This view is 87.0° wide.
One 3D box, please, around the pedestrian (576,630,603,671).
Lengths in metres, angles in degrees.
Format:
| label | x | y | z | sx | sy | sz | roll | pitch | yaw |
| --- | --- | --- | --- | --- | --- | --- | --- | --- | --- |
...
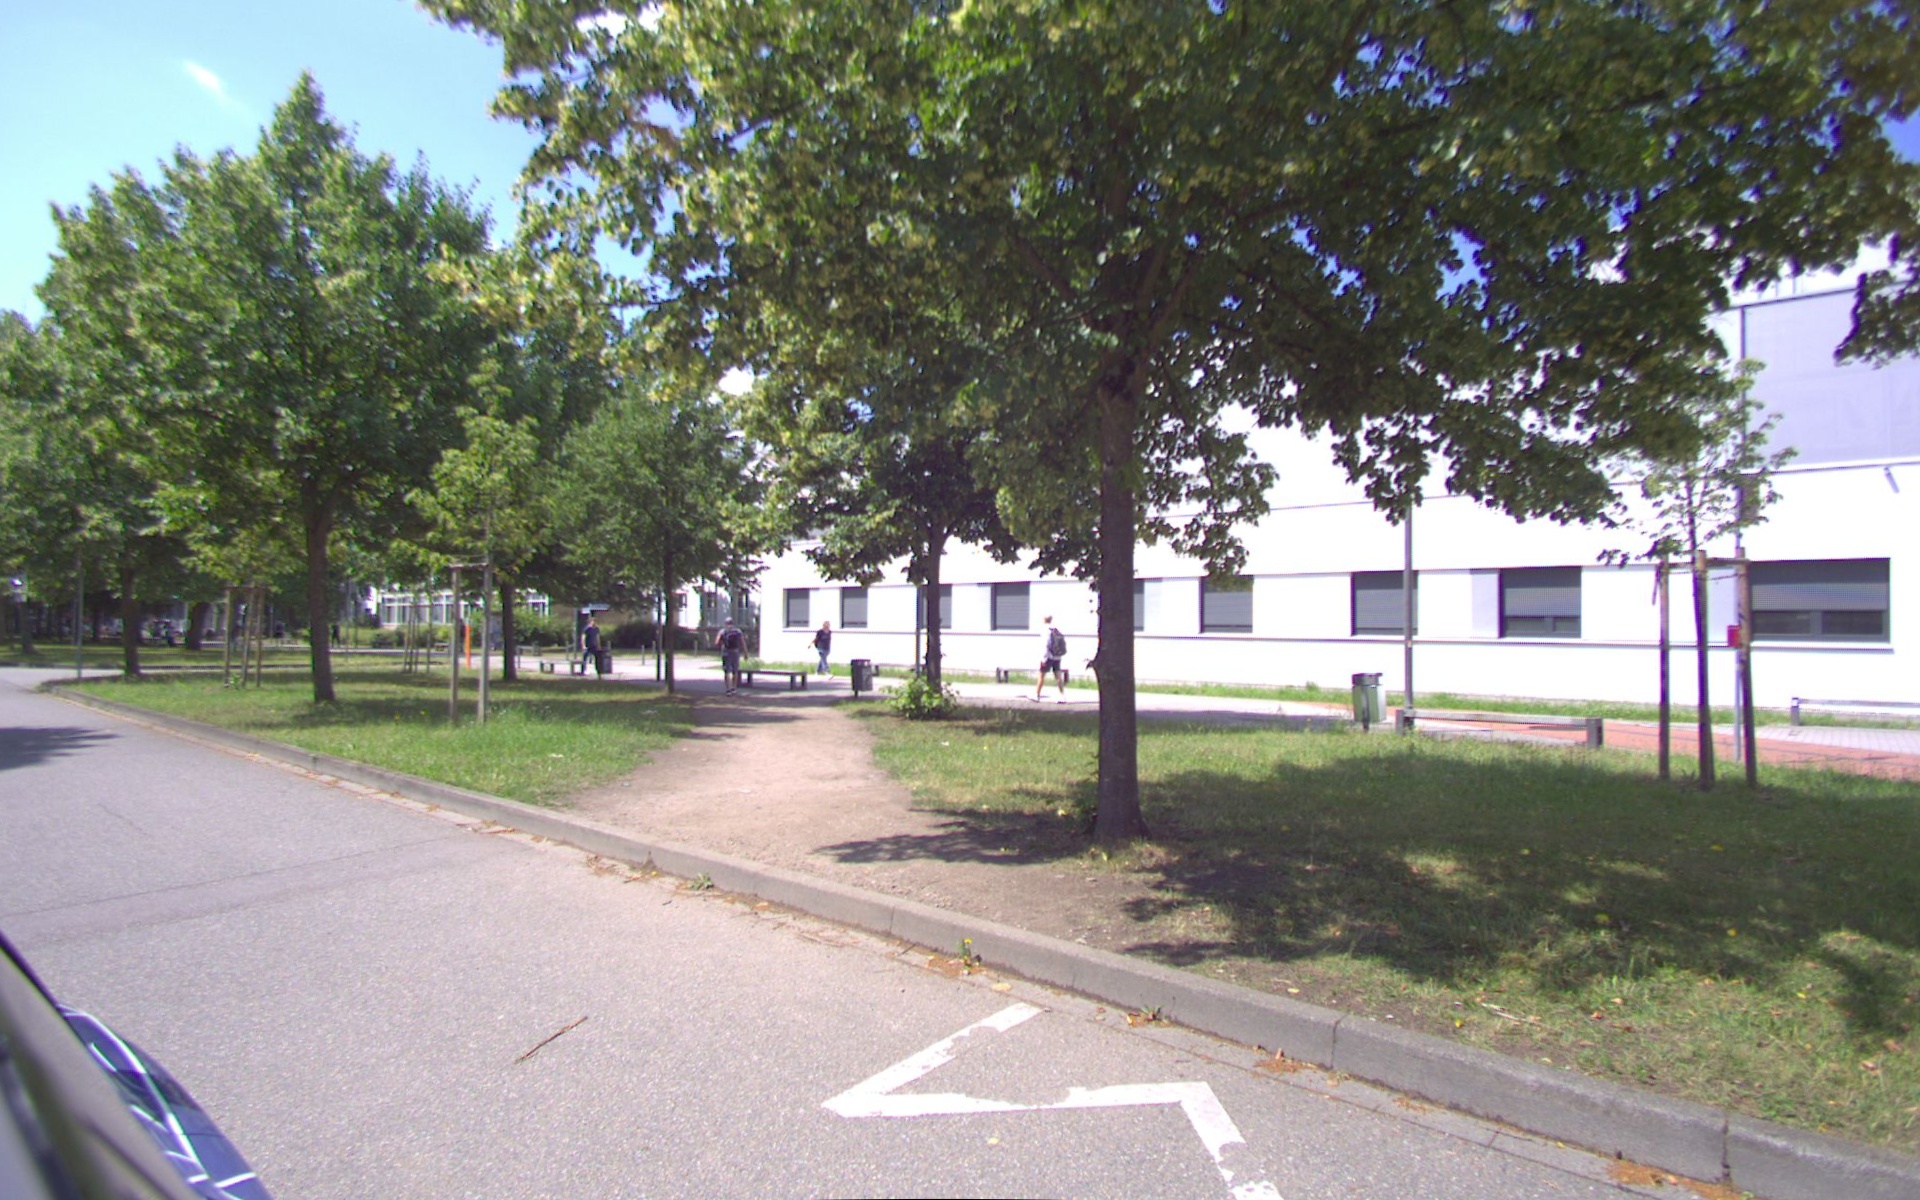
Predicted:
| label | x | y | z | sx | sy | sz | roll | pitch | yaw |
| --- | --- | --- | --- | --- | --- | --- | --- | --- | --- |
| pedestrian | -15.227 | 2.062 | 41.574 | 0.836 | 1.661 | 0.805 | 2 | -2 | -38 |

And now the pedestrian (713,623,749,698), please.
| label | x | y | z | sx | sy | sz | roll | pitch | yaw |
| --- | --- | --- | --- | --- | --- | --- | --- | --- | --- |
| pedestrian | -5.160 | 1.351 | 22.811 | 0.715 | 1.669 | 0.717 | 1 | -2 | -7 |

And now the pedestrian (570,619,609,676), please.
| label | x | y | z | sx | sy | sz | roll | pitch | yaw |
| --- | --- | --- | --- | --- | --- | --- | --- | --- | --- |
| pedestrian | -11.962 | 1.523 | 32.677 | 0.782 | 1.789 | 1.096 | 2 | -3 | -43 |

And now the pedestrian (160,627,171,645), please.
| label | x | y | z | sx | sy | sz | roll | pitch | yaw |
| --- | --- | --- | --- | --- | --- | --- | --- | --- | --- |
| pedestrian | -76.622 | 3.484 | 97.608 | 0.754 | 1.665 | 1.243 | 2 | -2 | -38 |

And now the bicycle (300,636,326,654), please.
| label | x | y | z | sx | sy | sz | roll | pitch | yaw |
| --- | --- | --- | --- | --- | --- | --- | --- | --- | --- |
| bicycle | -39.416 | 2.732 | 61.649 | 2.148 | 1.040 | 0.768 | -1 | -3 | 42 |

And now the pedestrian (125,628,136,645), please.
| label | x | y | z | sx | sy | sz | roll | pitch | yaw |
| --- | --- | --- | --- | --- | --- | --- | --- | --- | --- |
| pedestrian | -80.538 | 3.529 | 98.273 | 0.754 | 1.665 | 1.243 | 2 | -2 | -38 |

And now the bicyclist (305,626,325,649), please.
| label | x | y | z | sx | sy | sz | roll | pitch | yaw |
| --- | --- | --- | --- | --- | --- | --- | --- | --- | --- |
| bicyclist | -39.179 | 2.280 | 61.475 | 0.828 | 1.343 | 0.768 | -1 | -3 | 41 |

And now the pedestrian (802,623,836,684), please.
| label | x | y | z | sx | sy | sz | roll | pitch | yaw |
| --- | --- | --- | --- | --- | --- | --- | --- | --- | --- |
| pedestrian | -4.005 | 1.503 | 28.722 | 0.725 | 1.701 | 0.620 | -1 | -3 | 41 |

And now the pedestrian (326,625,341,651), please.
| label | x | y | z | sx | sy | sz | roll | pitch | yaw |
| --- | --- | --- | --- | --- | --- | --- | --- | --- | --- |
| pedestrian | -39.535 | 2.400 | 63.886 | 0.763 | 1.641 | 0.588 | -1 | -3 | 41 |

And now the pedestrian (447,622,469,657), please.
| label | x | y | z | sx | sy | sz | roll | pitch | yaw |
| --- | --- | --- | --- | --- | --- | --- | --- | --- | --- |
| pedestrian | -25.112 | 1.992 | 50.662 | 0.635 | 1.735 | 0.786 | -1 | -3 | 41 |

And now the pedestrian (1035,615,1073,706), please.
| label | x | y | z | sx | sy | sz | roll | pitch | yaw |
| --- | --- | --- | --- | --- | --- | --- | --- | --- | --- |
| pedestrian | 1.866 | 1.193 | 20.183 | 0.701 | 1.783 | 0.829 | 0 | -2 | 2 |
